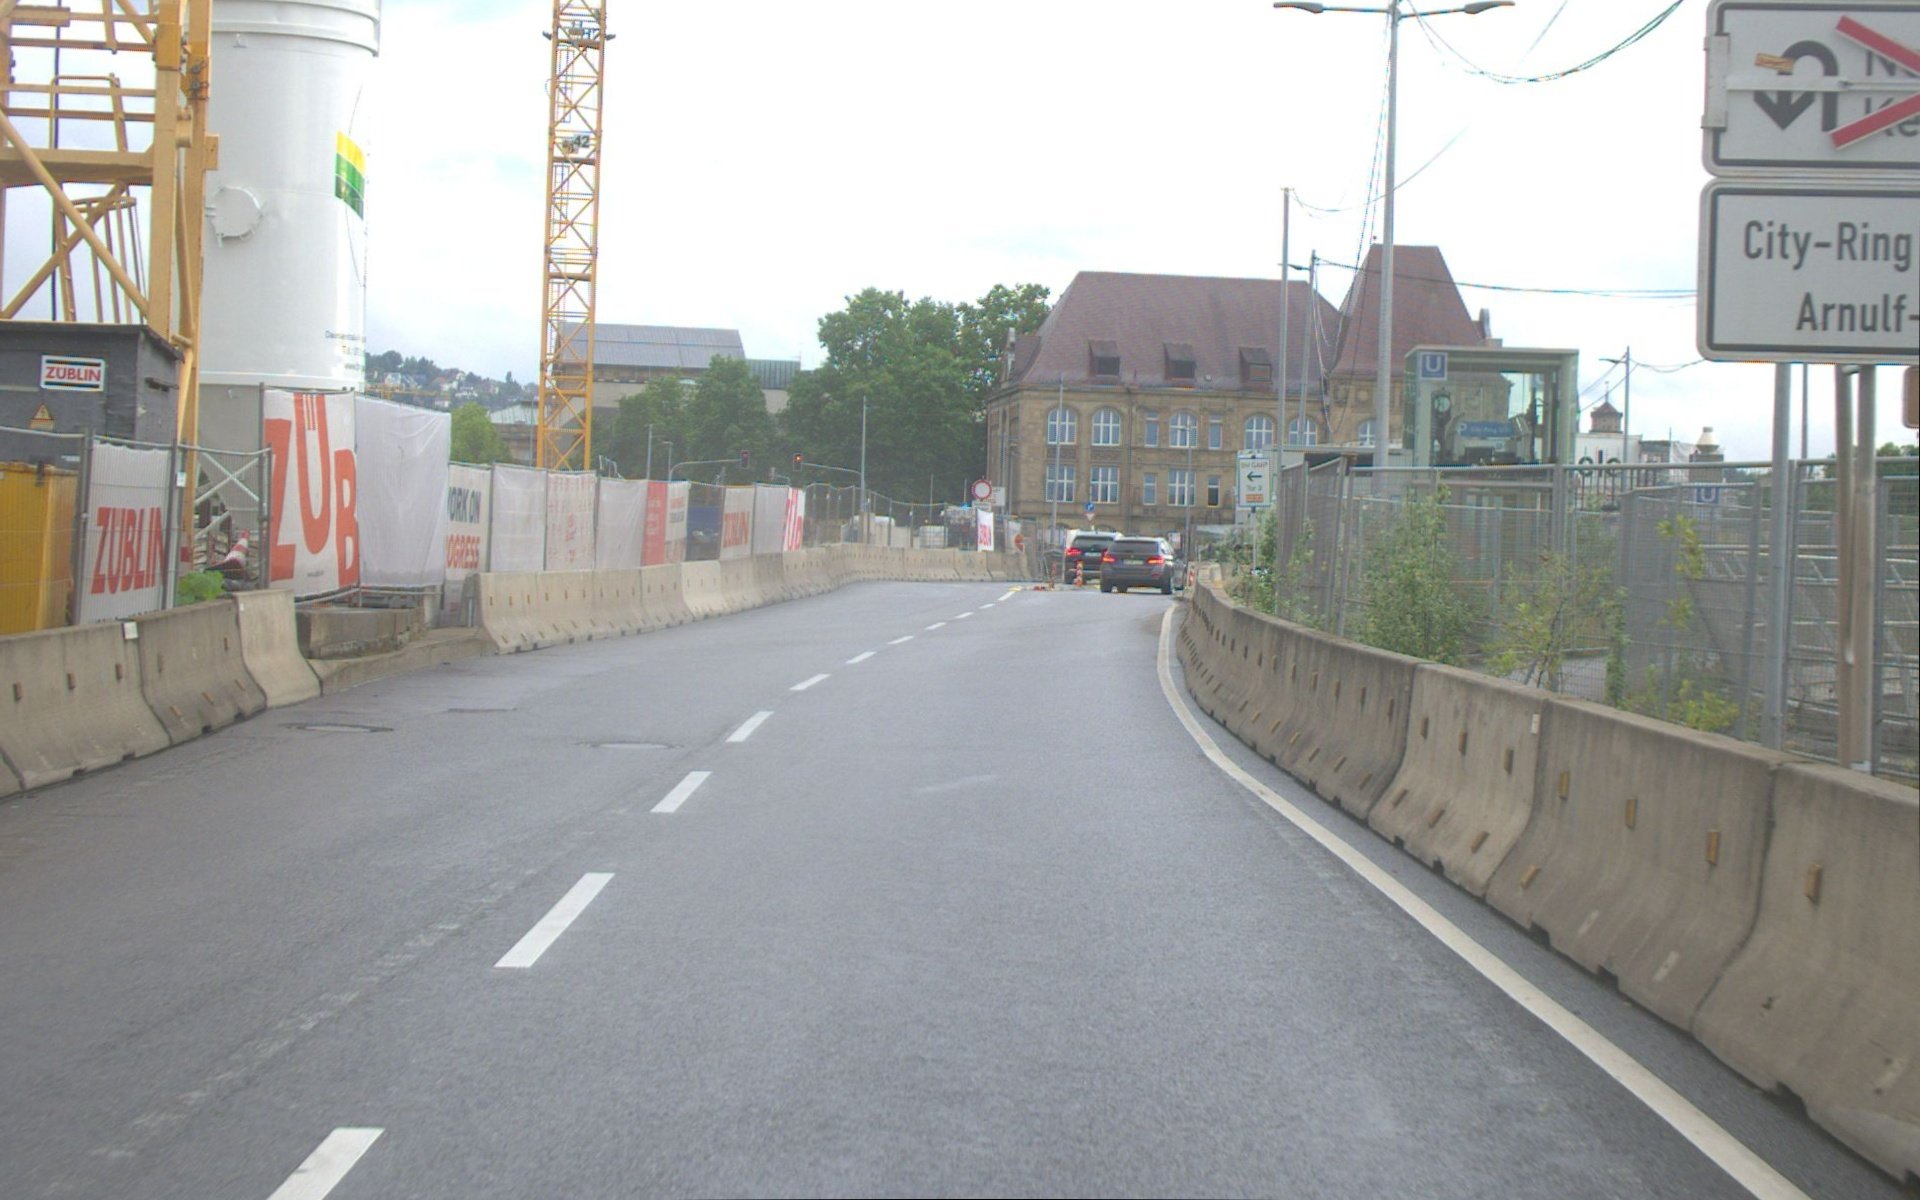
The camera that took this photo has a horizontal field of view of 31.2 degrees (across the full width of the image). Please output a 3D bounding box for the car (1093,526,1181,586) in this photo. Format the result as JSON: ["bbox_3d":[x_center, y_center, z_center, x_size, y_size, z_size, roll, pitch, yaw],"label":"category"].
[{"bbox_3d":[4.532,-1.102,87.619,1.863,1.428,4.655,1,0,7],"label":"car"}]

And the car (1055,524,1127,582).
[{"bbox_3d":[4.060,-1.458,105.639,1.863,1.655,4.655,2,1,6],"label":"car"}]
